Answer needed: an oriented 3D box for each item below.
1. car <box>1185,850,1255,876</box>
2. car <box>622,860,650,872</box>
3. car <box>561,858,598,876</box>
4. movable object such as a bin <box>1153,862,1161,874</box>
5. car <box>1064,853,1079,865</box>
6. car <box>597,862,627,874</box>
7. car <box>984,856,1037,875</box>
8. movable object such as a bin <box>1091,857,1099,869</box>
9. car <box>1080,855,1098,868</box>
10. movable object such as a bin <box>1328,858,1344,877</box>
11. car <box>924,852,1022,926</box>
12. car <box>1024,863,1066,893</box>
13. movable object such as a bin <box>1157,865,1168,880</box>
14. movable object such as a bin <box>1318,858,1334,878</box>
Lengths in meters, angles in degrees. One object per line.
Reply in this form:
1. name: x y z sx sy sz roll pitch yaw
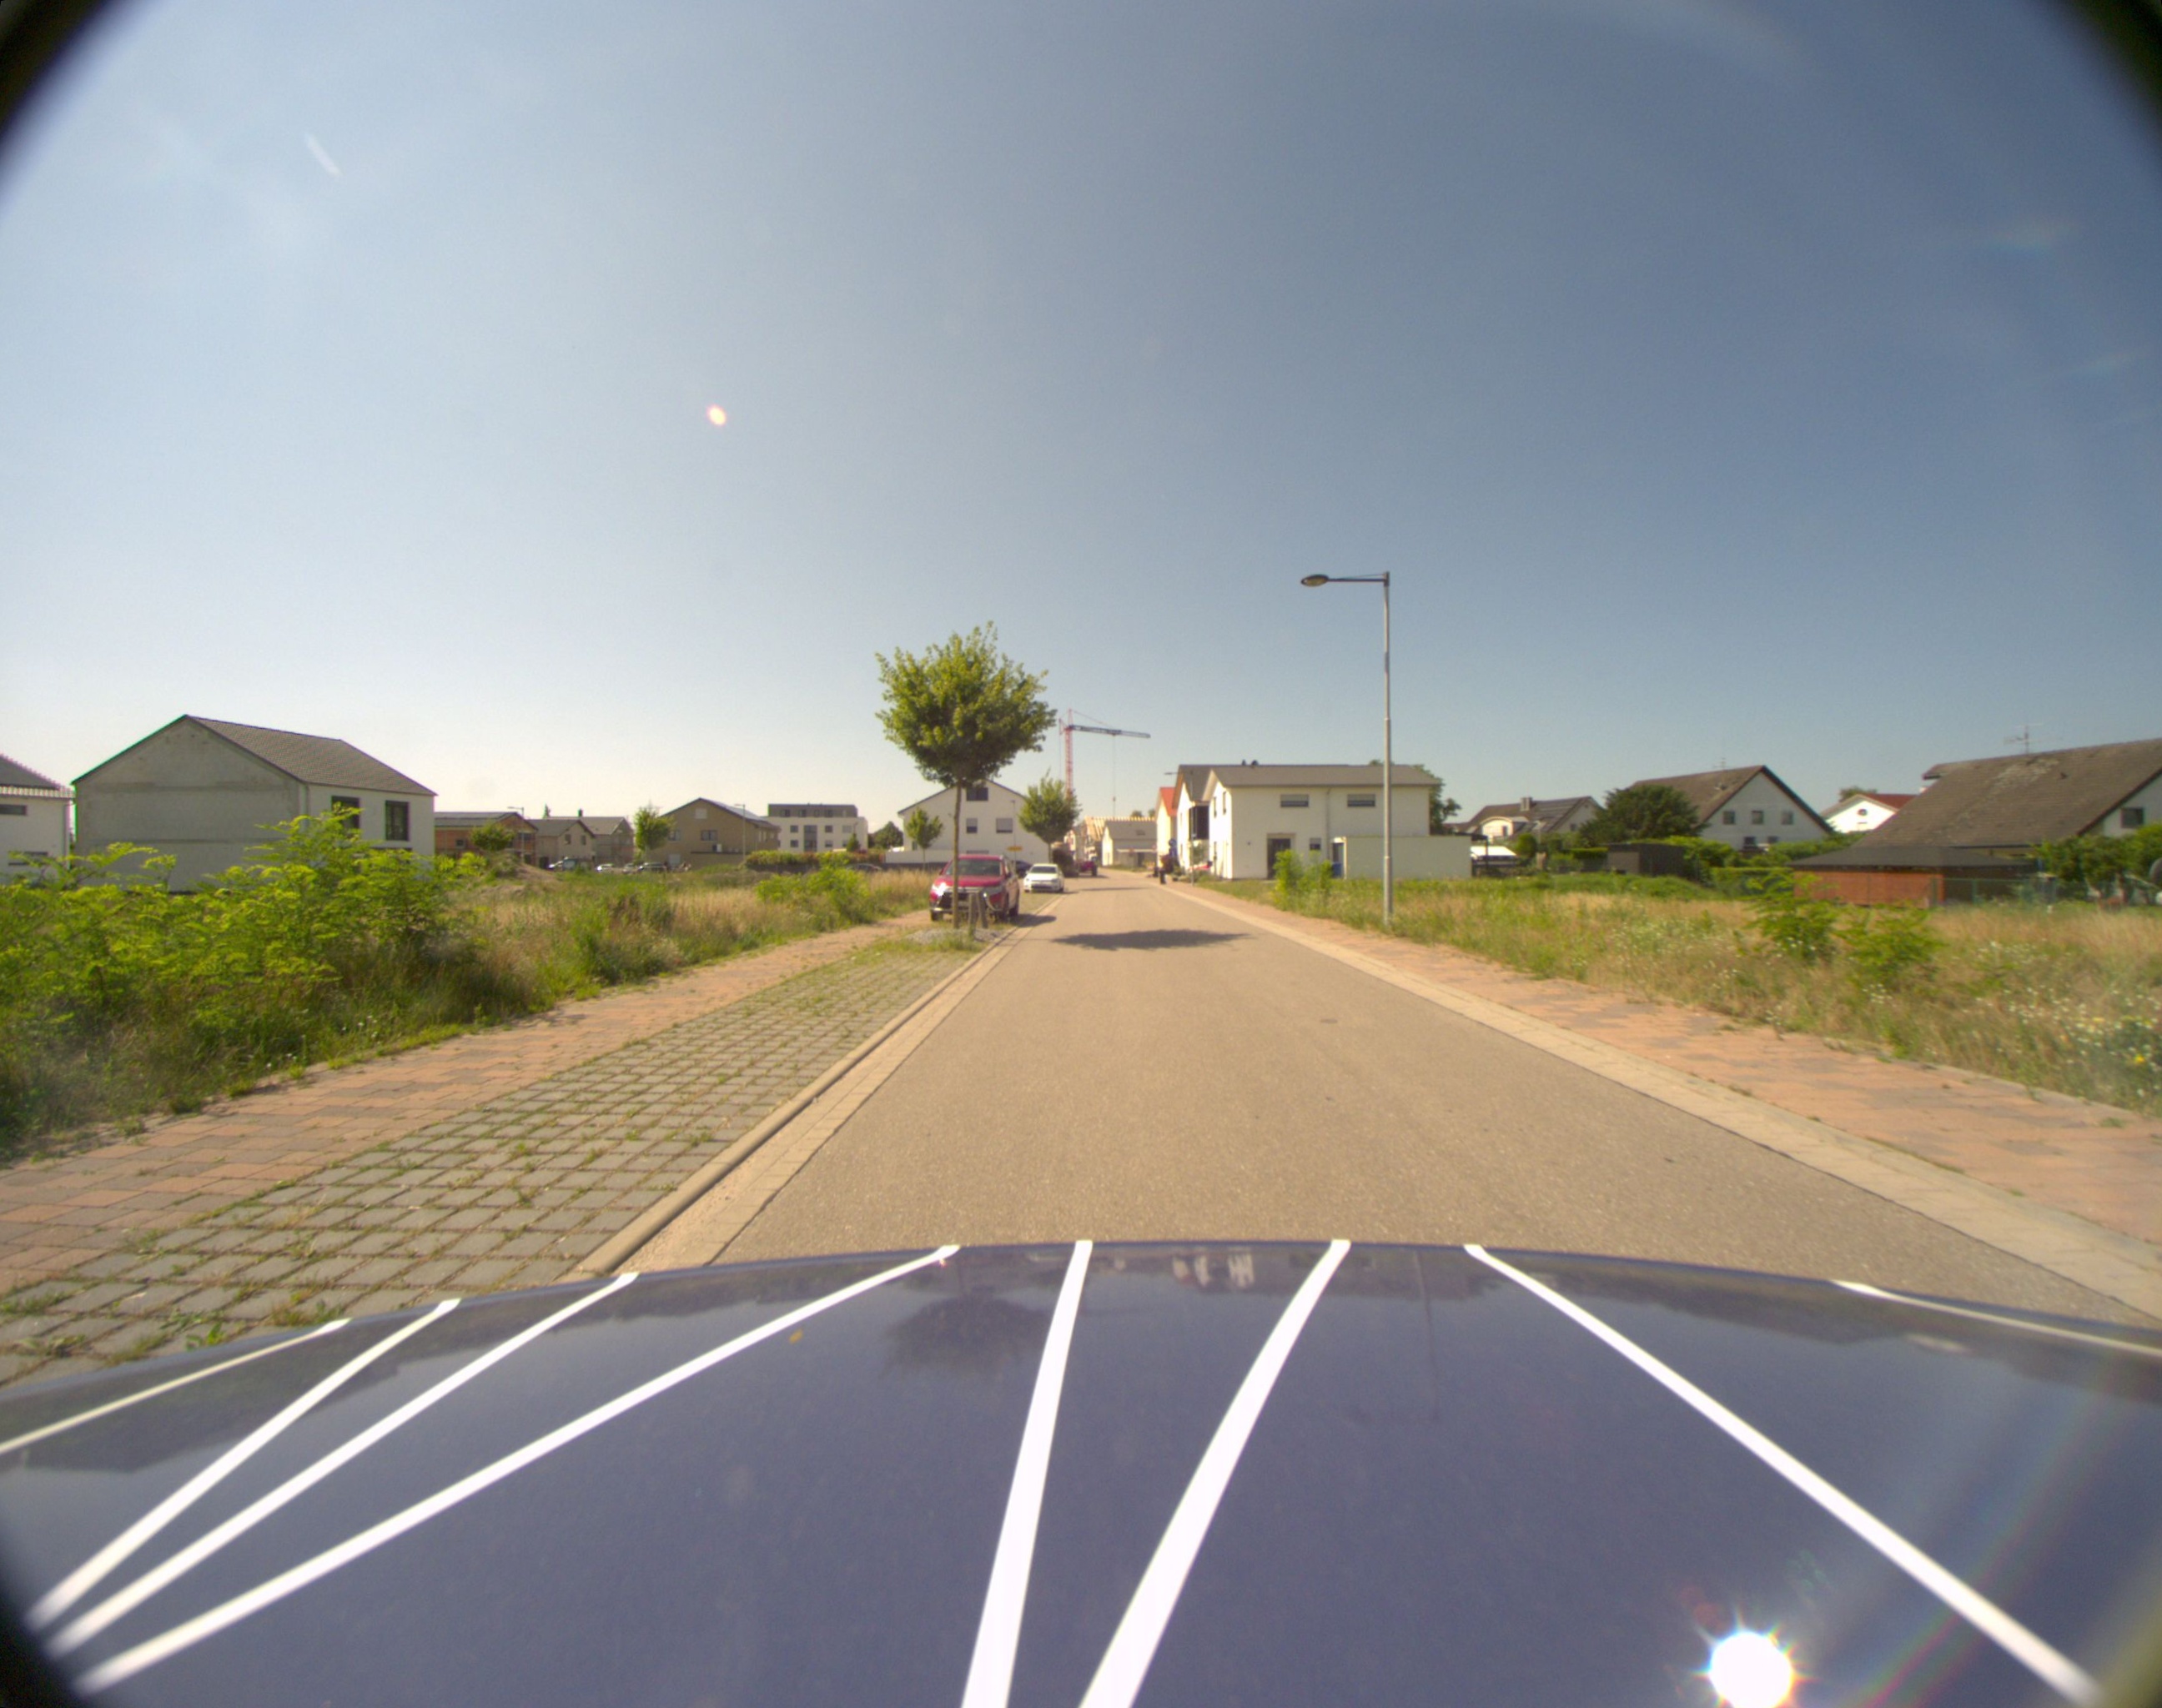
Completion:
1. car: 10.179 0.640 55.953 4.748 1.864 1.938 0 0 -1
2. car: -58.912 1.532 100.583 1.750 1.493 3.997 0 0 -7
3. car: -57.453 1.477 87.095 2.000 2.002 3.997 0 0 -7
4. movable object such as a bin: 6.466 1.186 64.715 0.618 0.931 0.565 -1 0 -3
5. car: -1.409 0.768 112.134 1.803 1.609 3.672 -1 1 -9
6. car: -58.148 1.751 94.245 1.667 1.392 3.918 0 0 -7
7. car: -6.010 0.997 65.167 4.348 1.549 1.960 -1 0 -1
8. movable object such as a bin: 1.372 0.885 74.581 0.823 1.058 0.590 -1 1 -3
9. car: 0.966 0.932 92.620 1.911 1.470 3.998 -1 1 -3
10. movable object such as a bin: 14.437 0.762 42.981 0.671 1.092 0.808 0 1 2
11. car: -2.613 0.809 19.389 1.781 1.653 4.434 1 0 1
12. car: -1.791 1.176 39.132 1.779 1.411 4.166 1 0 2
13. movable object such as a bin: 5.117 1.179 47.886 0.625 0.943 0.500 -1 1 -3
14. movable object such as a bin: 13.807 0.772 42.869 0.661 1.092 0.785 0 1 1
